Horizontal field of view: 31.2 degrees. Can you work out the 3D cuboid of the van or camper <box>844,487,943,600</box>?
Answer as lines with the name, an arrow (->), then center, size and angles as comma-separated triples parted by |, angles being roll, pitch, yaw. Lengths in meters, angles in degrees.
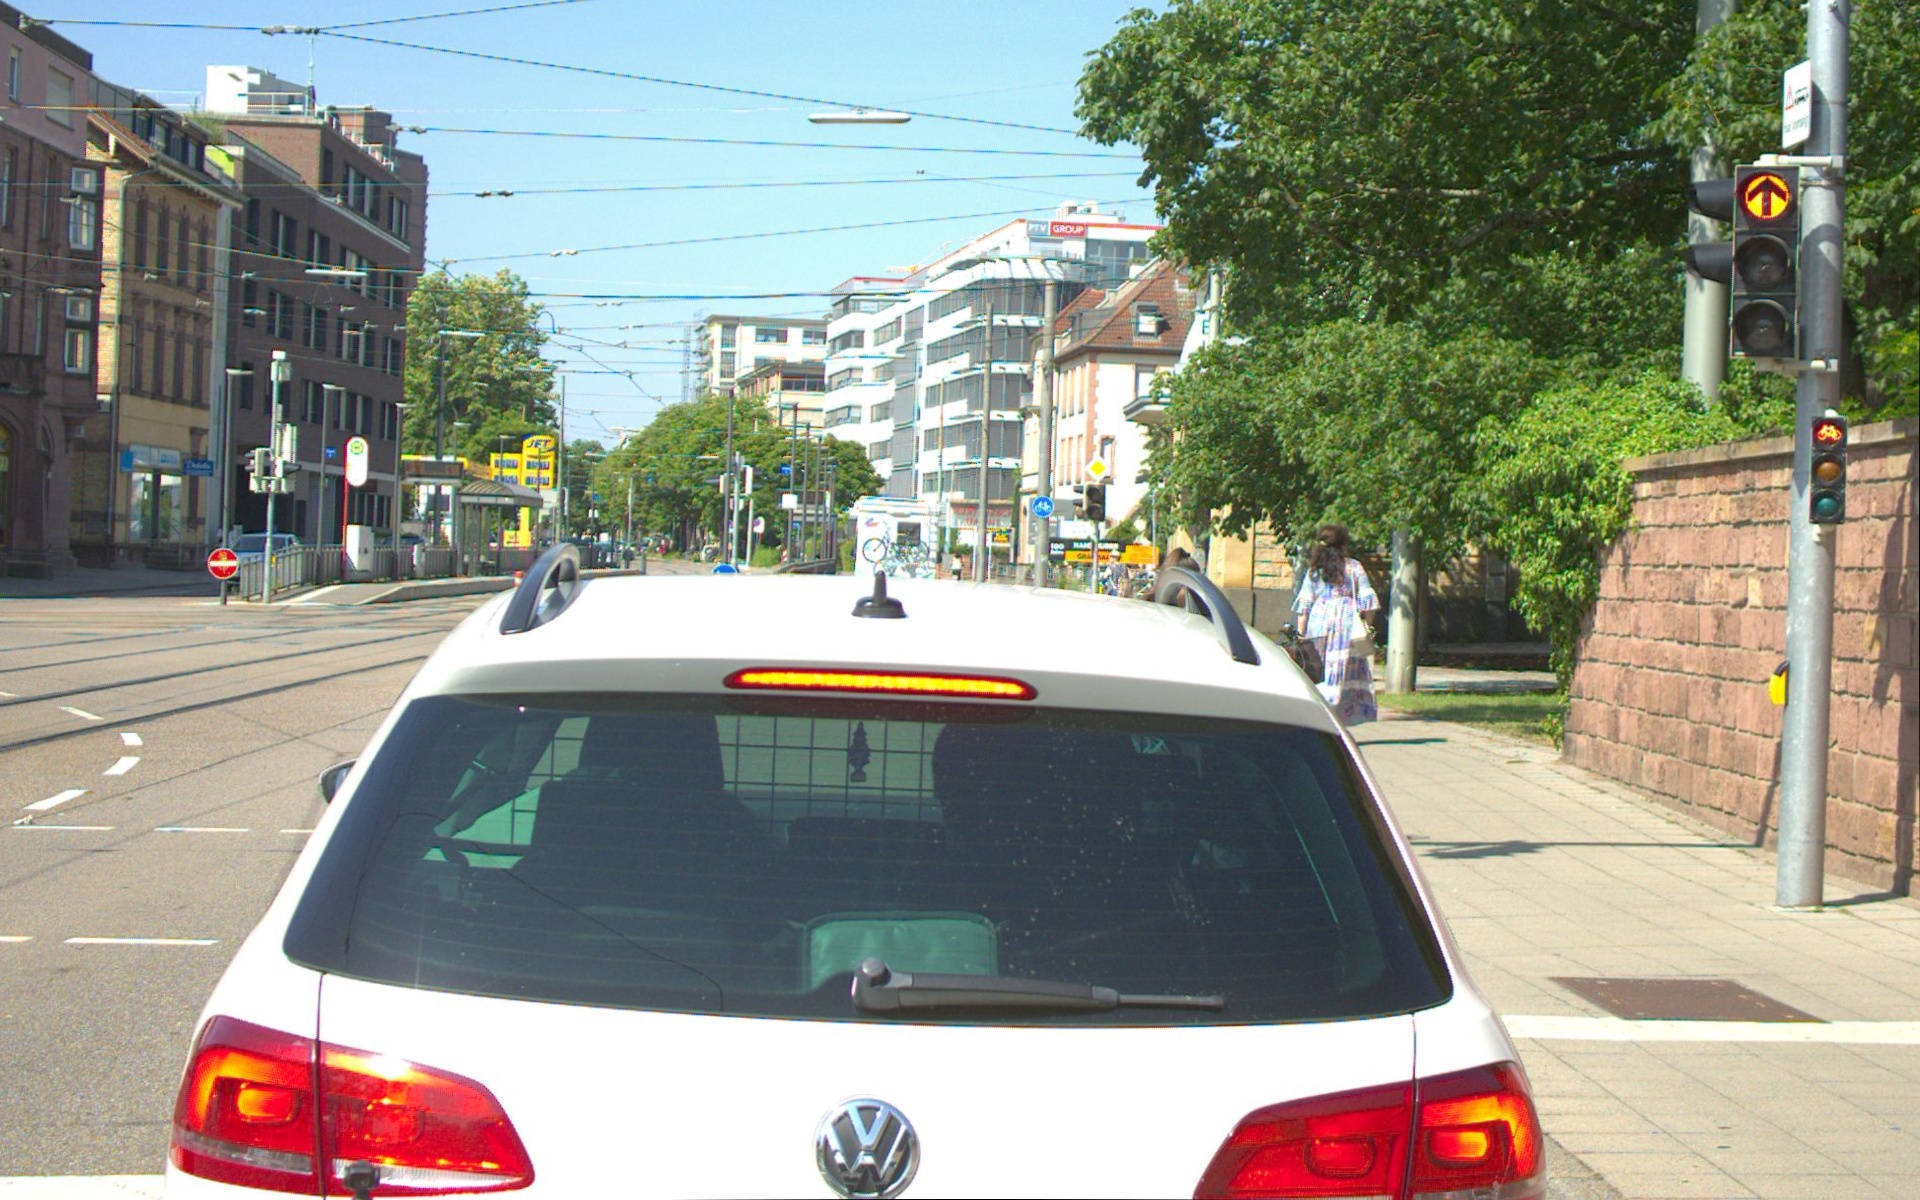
van or camper -> -1.926, -1.561, 97.673 | 2.566, 3.082, 5.703 | 0, 0, -4

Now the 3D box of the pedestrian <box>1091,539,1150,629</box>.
pedestrian -> 3.149, -0.310, 67.489 | 0.861, 1.737, 0.975 | 0, 0, -17

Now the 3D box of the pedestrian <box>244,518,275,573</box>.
pedestrian -> -22.749, -1.764, 111.641 | 0.861, 1.737, 0.975 | 0, 0, -6

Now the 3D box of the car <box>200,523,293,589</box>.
car -> -17.899, -1.090, 86.424 | 1.740, 1.612, 4.000 | 0, 0, -4

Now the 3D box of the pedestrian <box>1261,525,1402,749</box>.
pedestrian -> 2.791, 0.268, 25.774 | 0.953, 1.645, 0.974 | 0, 0, 12

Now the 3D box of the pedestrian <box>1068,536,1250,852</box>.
pedestrian -> 1.010, 0.466, 17.547 | 0.745, 1.566, 0.675 | 0, 2, -13

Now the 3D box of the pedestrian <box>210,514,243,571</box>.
pedestrian -> -22.511, -1.763, 105.530 | 0.861, 1.737, 0.975 | 0, 0, -6

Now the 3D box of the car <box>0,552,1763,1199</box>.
car -> -0.146, 0.679, 5.456 | 1.808, 1.443, 4.000 | 2, 1, -1

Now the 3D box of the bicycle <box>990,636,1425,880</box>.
bicycle -> 1.219, 0.765, 17.028 | 2.019, 1.086, 0.710 | -1, 2, -12

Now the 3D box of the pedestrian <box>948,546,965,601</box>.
pedestrian -> -0.162, -1.123, 144.807 | 0.690, 2.317, 1.232 | 0, 0, 1
